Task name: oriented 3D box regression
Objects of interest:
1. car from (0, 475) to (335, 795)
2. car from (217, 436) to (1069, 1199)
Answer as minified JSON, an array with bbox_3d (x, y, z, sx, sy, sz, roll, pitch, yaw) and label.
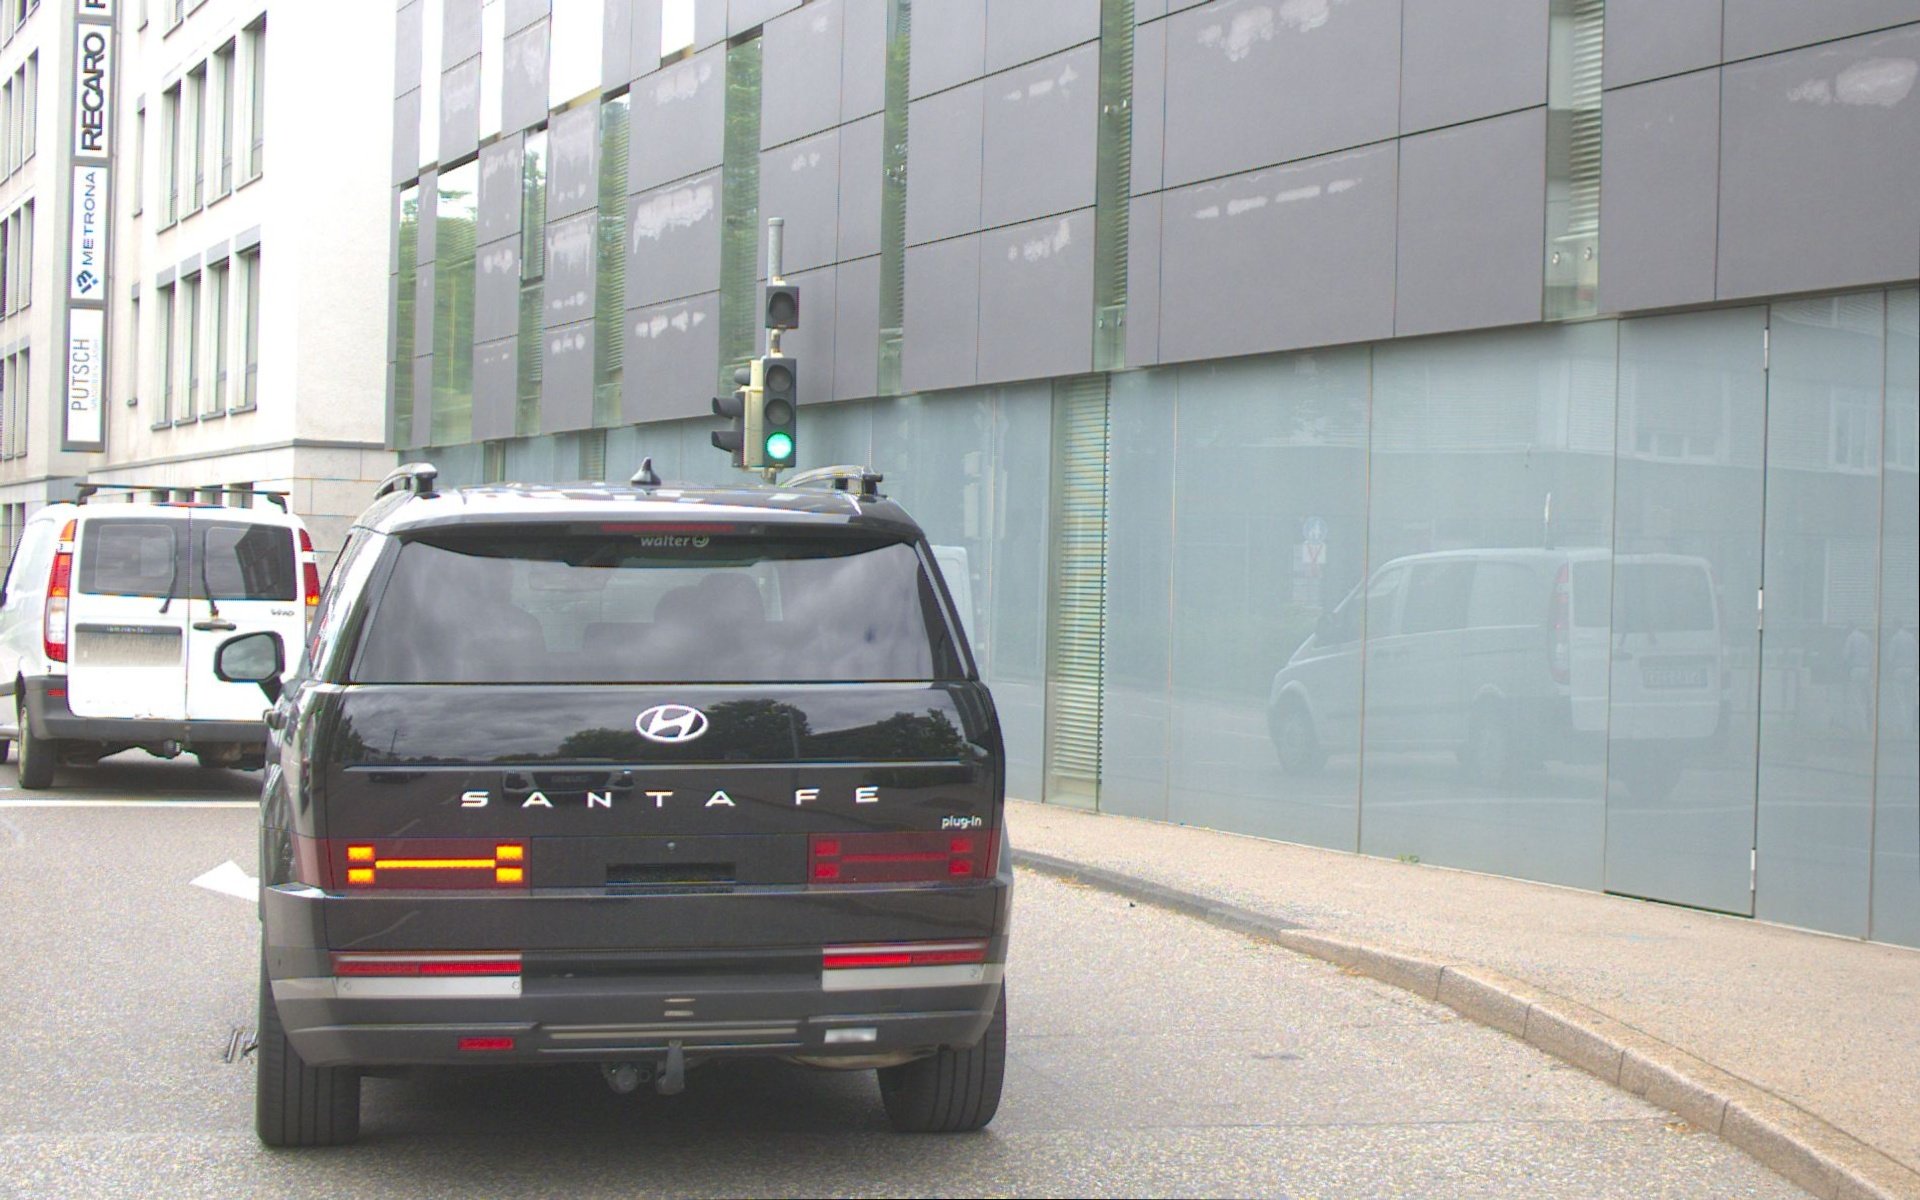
[{"bbox_3d":[-5.715,0.200,23.811,1.931,1.987,4.536,1,0,-20],"label":"car"},{"bbox_3d":[-1.143,0.496,9.905,1.908,1.743,4.398,1,0,-12],"label":"car"}]
